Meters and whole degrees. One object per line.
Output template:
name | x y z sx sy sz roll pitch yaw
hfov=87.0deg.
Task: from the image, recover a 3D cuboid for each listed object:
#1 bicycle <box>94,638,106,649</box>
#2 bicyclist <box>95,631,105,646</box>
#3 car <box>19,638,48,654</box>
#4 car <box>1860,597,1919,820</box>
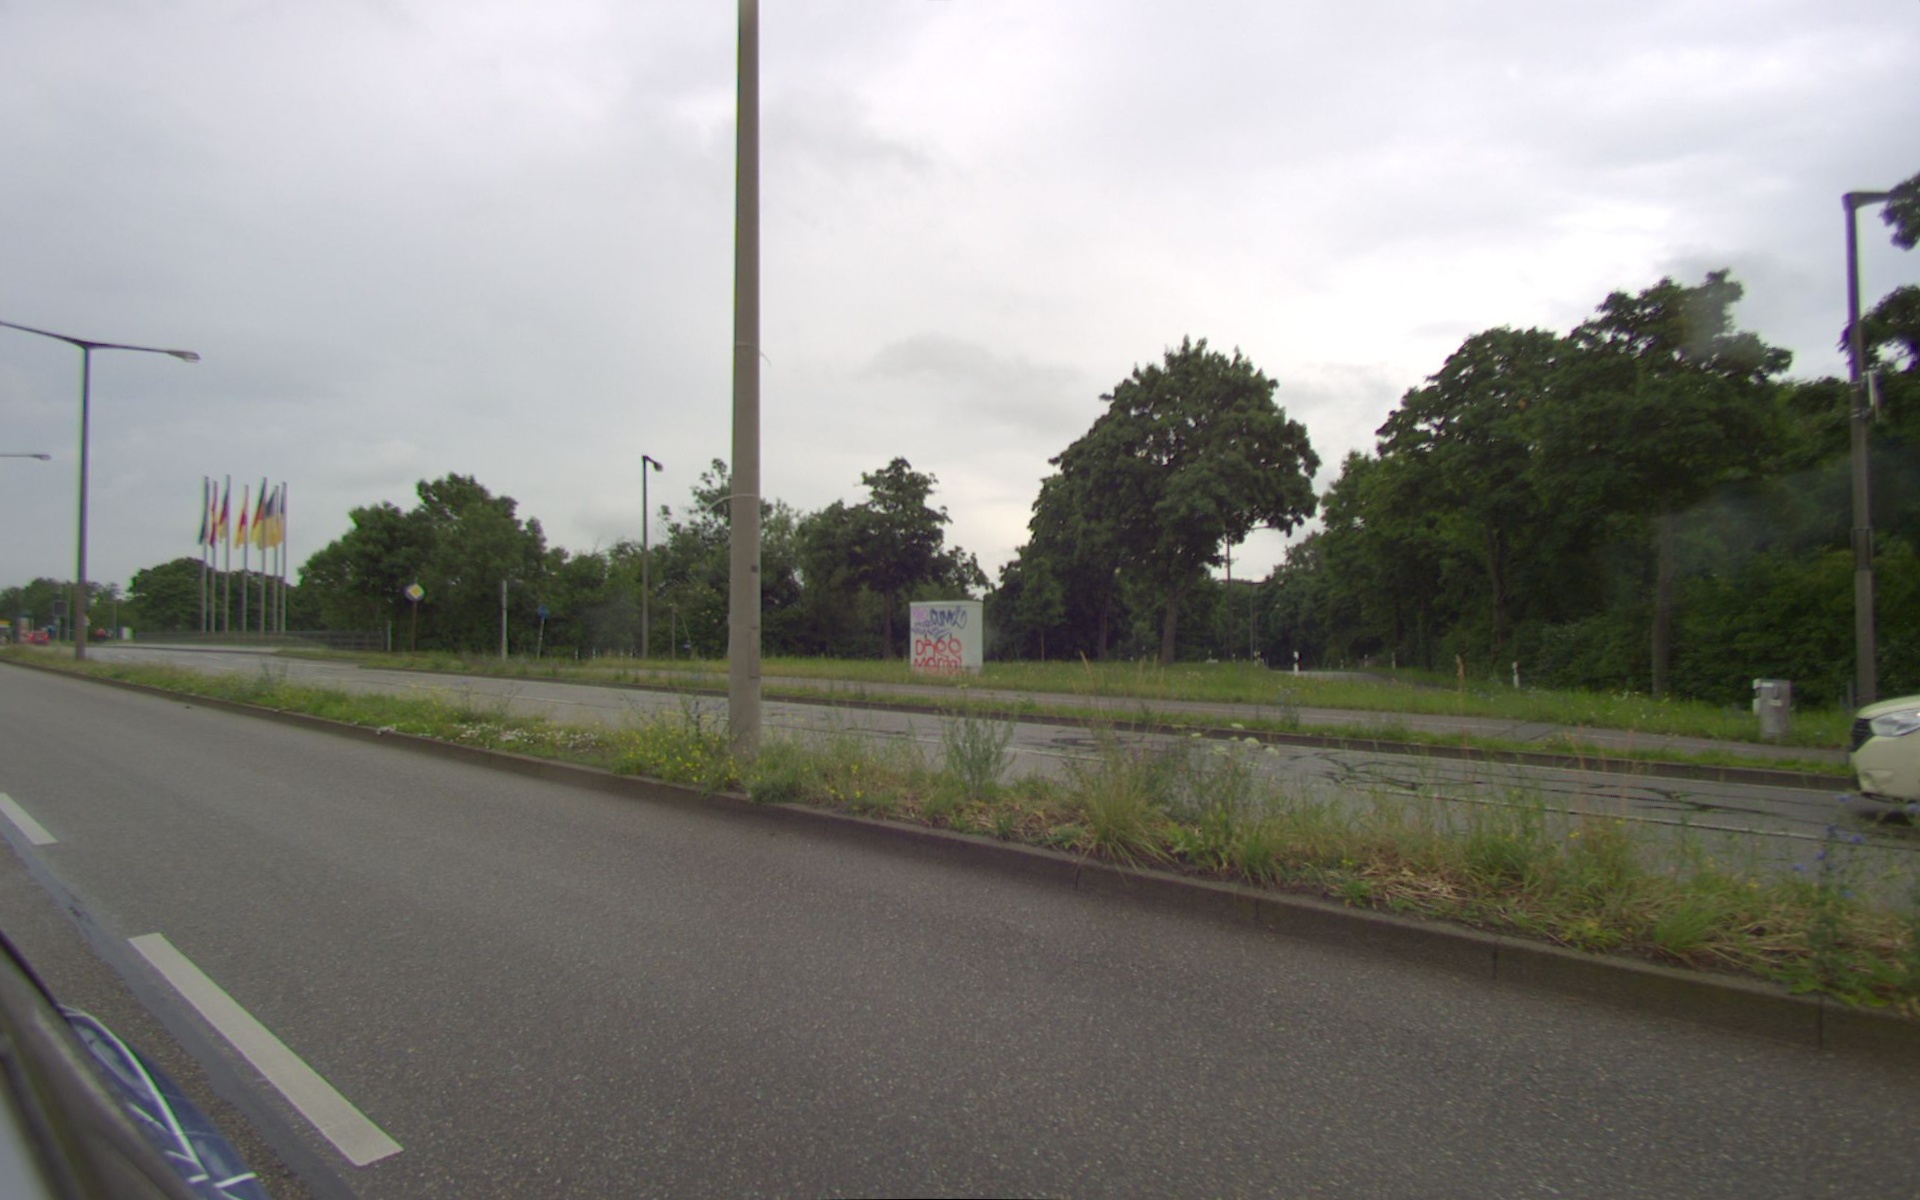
bicycle | -85.998 4.309 101.183 2.000 1.041 0.603 -2 -1 41
bicyclist | -86.012 3.817 101.181 1.002 1.511 0.613 -2 -1 41
car | -92.409 4.584 100.904 3.555 1.459 1.643 -2 -4 41
car | 9.168 0.806 6.851 4.488 1.642 1.689 -2 -4 40
